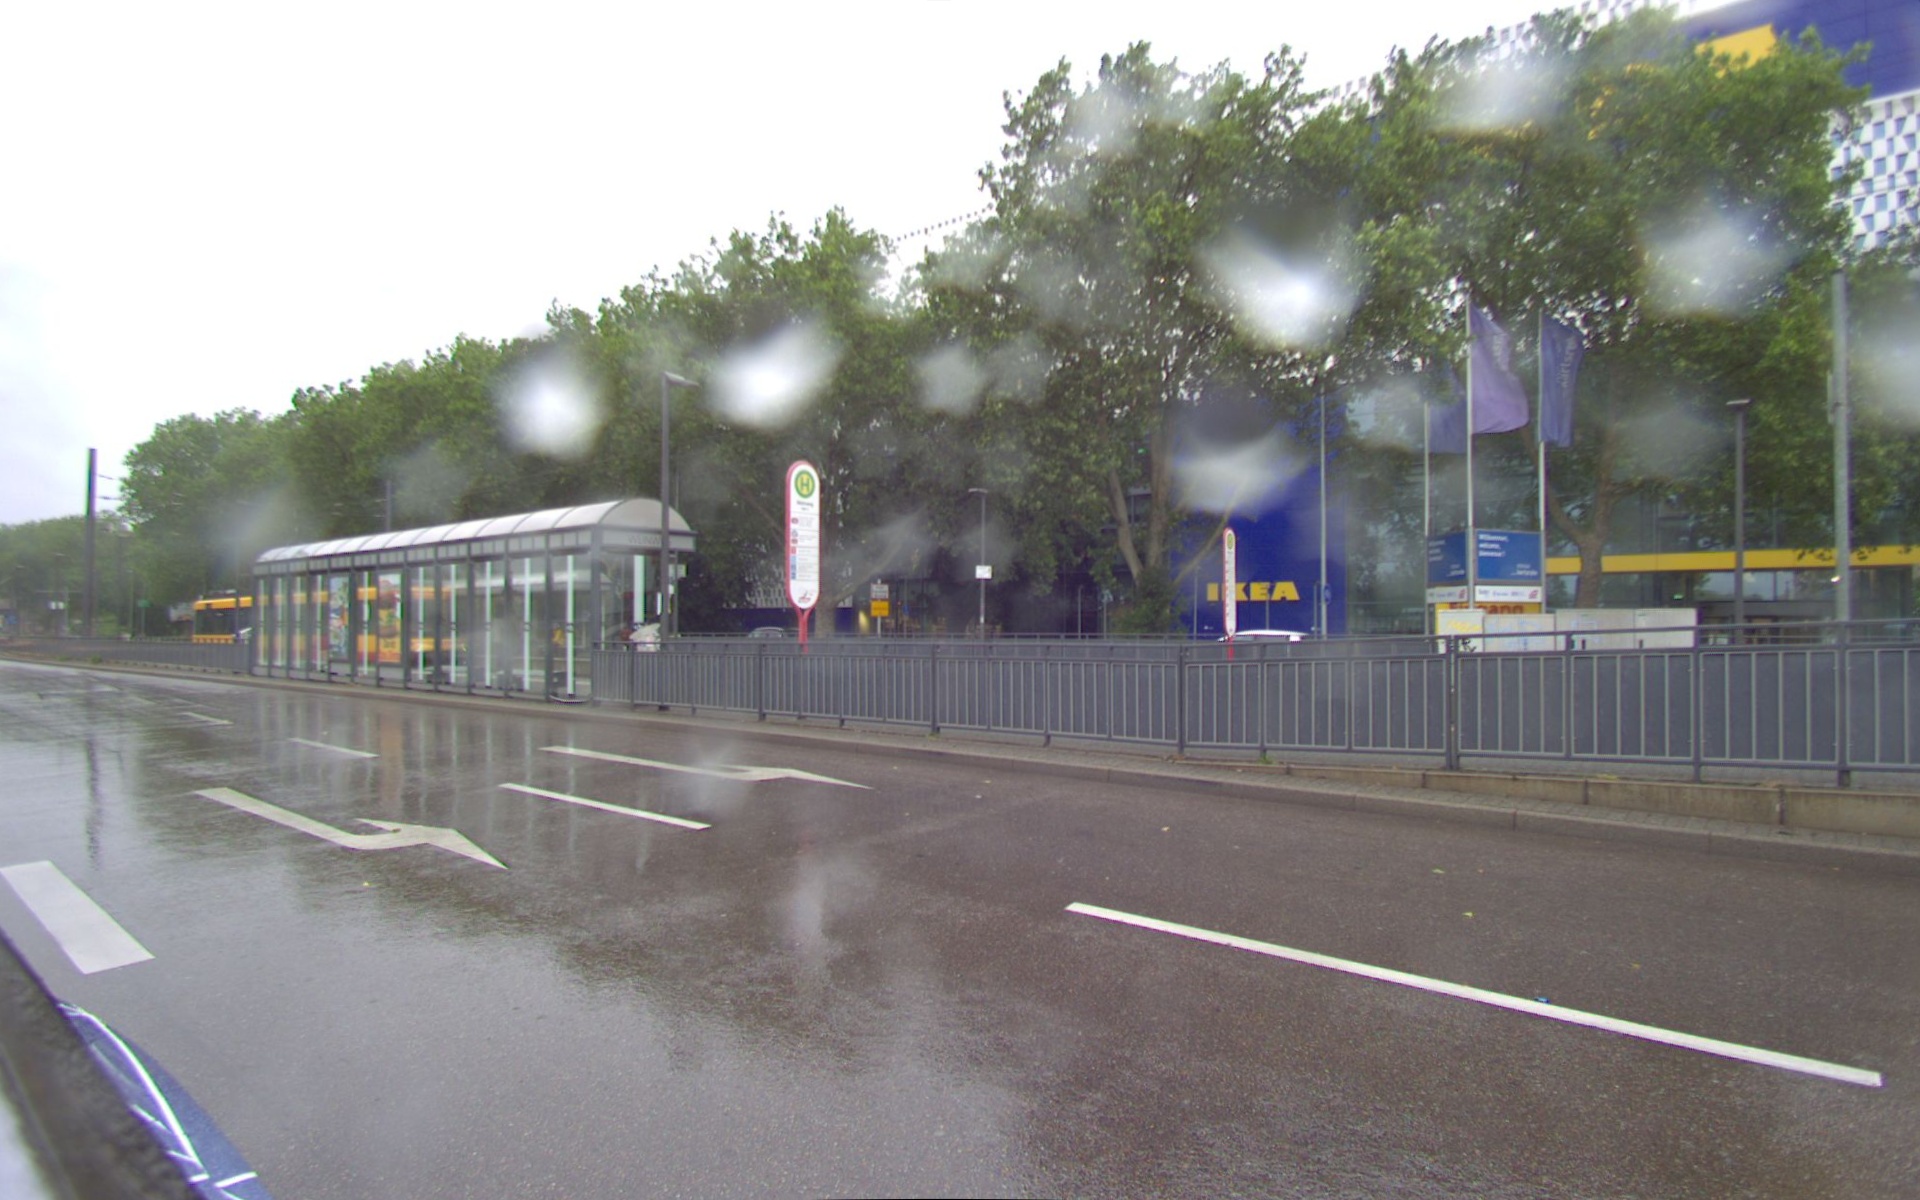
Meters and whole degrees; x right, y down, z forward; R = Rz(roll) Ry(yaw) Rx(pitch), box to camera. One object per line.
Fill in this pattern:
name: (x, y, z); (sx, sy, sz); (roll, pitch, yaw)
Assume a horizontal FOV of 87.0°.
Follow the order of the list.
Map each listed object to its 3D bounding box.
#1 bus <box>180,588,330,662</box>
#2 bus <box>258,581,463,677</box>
bus: (-36.367, 1.199, 51.800); (15.058, 3.354, 2.900); (-1, 0, 42)
bus: (-25.125, 1.080, 41.731); (15.058, 3.354, 2.900); (-1, 0, 42)
